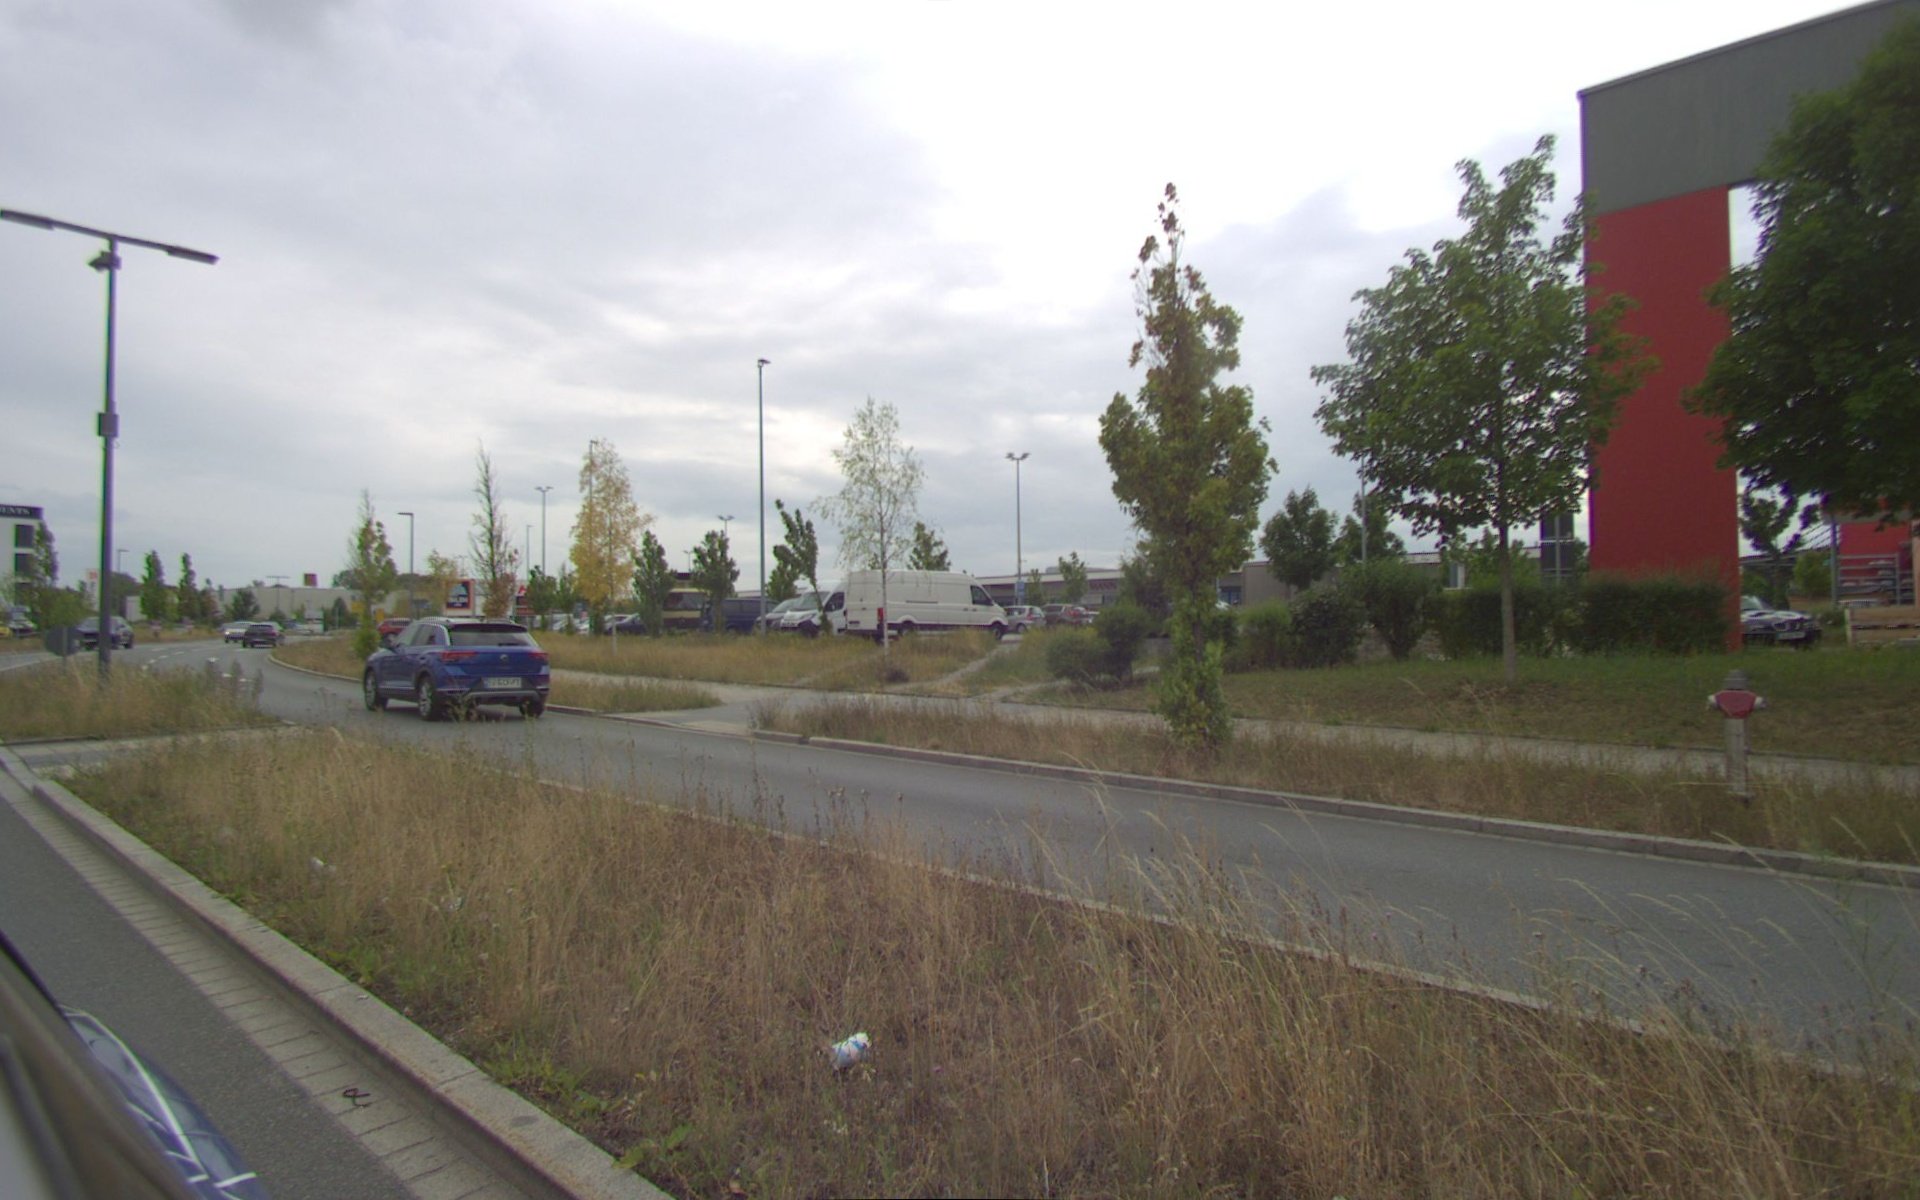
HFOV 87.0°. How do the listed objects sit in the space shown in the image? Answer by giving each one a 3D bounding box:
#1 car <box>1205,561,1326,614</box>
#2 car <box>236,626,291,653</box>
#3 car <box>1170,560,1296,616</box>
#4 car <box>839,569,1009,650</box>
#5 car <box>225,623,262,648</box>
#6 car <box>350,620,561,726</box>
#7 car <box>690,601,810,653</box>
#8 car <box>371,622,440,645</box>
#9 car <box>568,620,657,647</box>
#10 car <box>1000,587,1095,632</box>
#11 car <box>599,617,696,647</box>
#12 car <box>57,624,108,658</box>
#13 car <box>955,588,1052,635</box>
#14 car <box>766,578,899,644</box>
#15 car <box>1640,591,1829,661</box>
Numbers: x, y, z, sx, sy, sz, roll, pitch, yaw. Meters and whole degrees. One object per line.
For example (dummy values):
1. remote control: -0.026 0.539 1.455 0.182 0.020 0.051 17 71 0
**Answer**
1. car: 14.380 -0.538 47.785 5.050 2.391 2.039 -1 0 38
2. car: -40.953 2.323 59.587 1.705 1.504 4.012 0 -2 -19
3. car: 12.208 -0.503 45.465 5.050 2.391 2.039 -1 0 38
4. car: -1.167 0.278 36.098 6.325 2.644 2.066 -1 0 -45
5. car: -50.478 2.506 71.329 1.966 1.683 4.011 -1 -1 -33
6. car: -8.288 1.111 16.478 3.998 1.524 1.711 -2 -2 42
7. car: -9.458 1.235 45.773 4.979 2.240 2.067 1 -2 -42
8. car: -39.000 2.334 71.250 3.940 1.475 1.738 -1 0 -43
9. car: -22.277 2.155 64.926 4.976 1.669 2.068 1 -2 -39
10. car: 4.856 0.544 56.481 5.056 2.391 2.036 -1 0 42
11. car: -18.024 1.821 58.511 4.976 1.669 2.068 1 -2 -39
12. car: -46.037 2.158 53.153 1.834 1.683 4.008 -1 -2 -38
13. car: 2.304 0.590 54.242 5.056 2.391 2.036 -1 0 42
14. car: -4.896 0.382 39.478 2.064 2.391 4.988 -1 0 41
15. car: 15.272 0.481 20.012 2.861 1.279 1.245 -1 0 43
